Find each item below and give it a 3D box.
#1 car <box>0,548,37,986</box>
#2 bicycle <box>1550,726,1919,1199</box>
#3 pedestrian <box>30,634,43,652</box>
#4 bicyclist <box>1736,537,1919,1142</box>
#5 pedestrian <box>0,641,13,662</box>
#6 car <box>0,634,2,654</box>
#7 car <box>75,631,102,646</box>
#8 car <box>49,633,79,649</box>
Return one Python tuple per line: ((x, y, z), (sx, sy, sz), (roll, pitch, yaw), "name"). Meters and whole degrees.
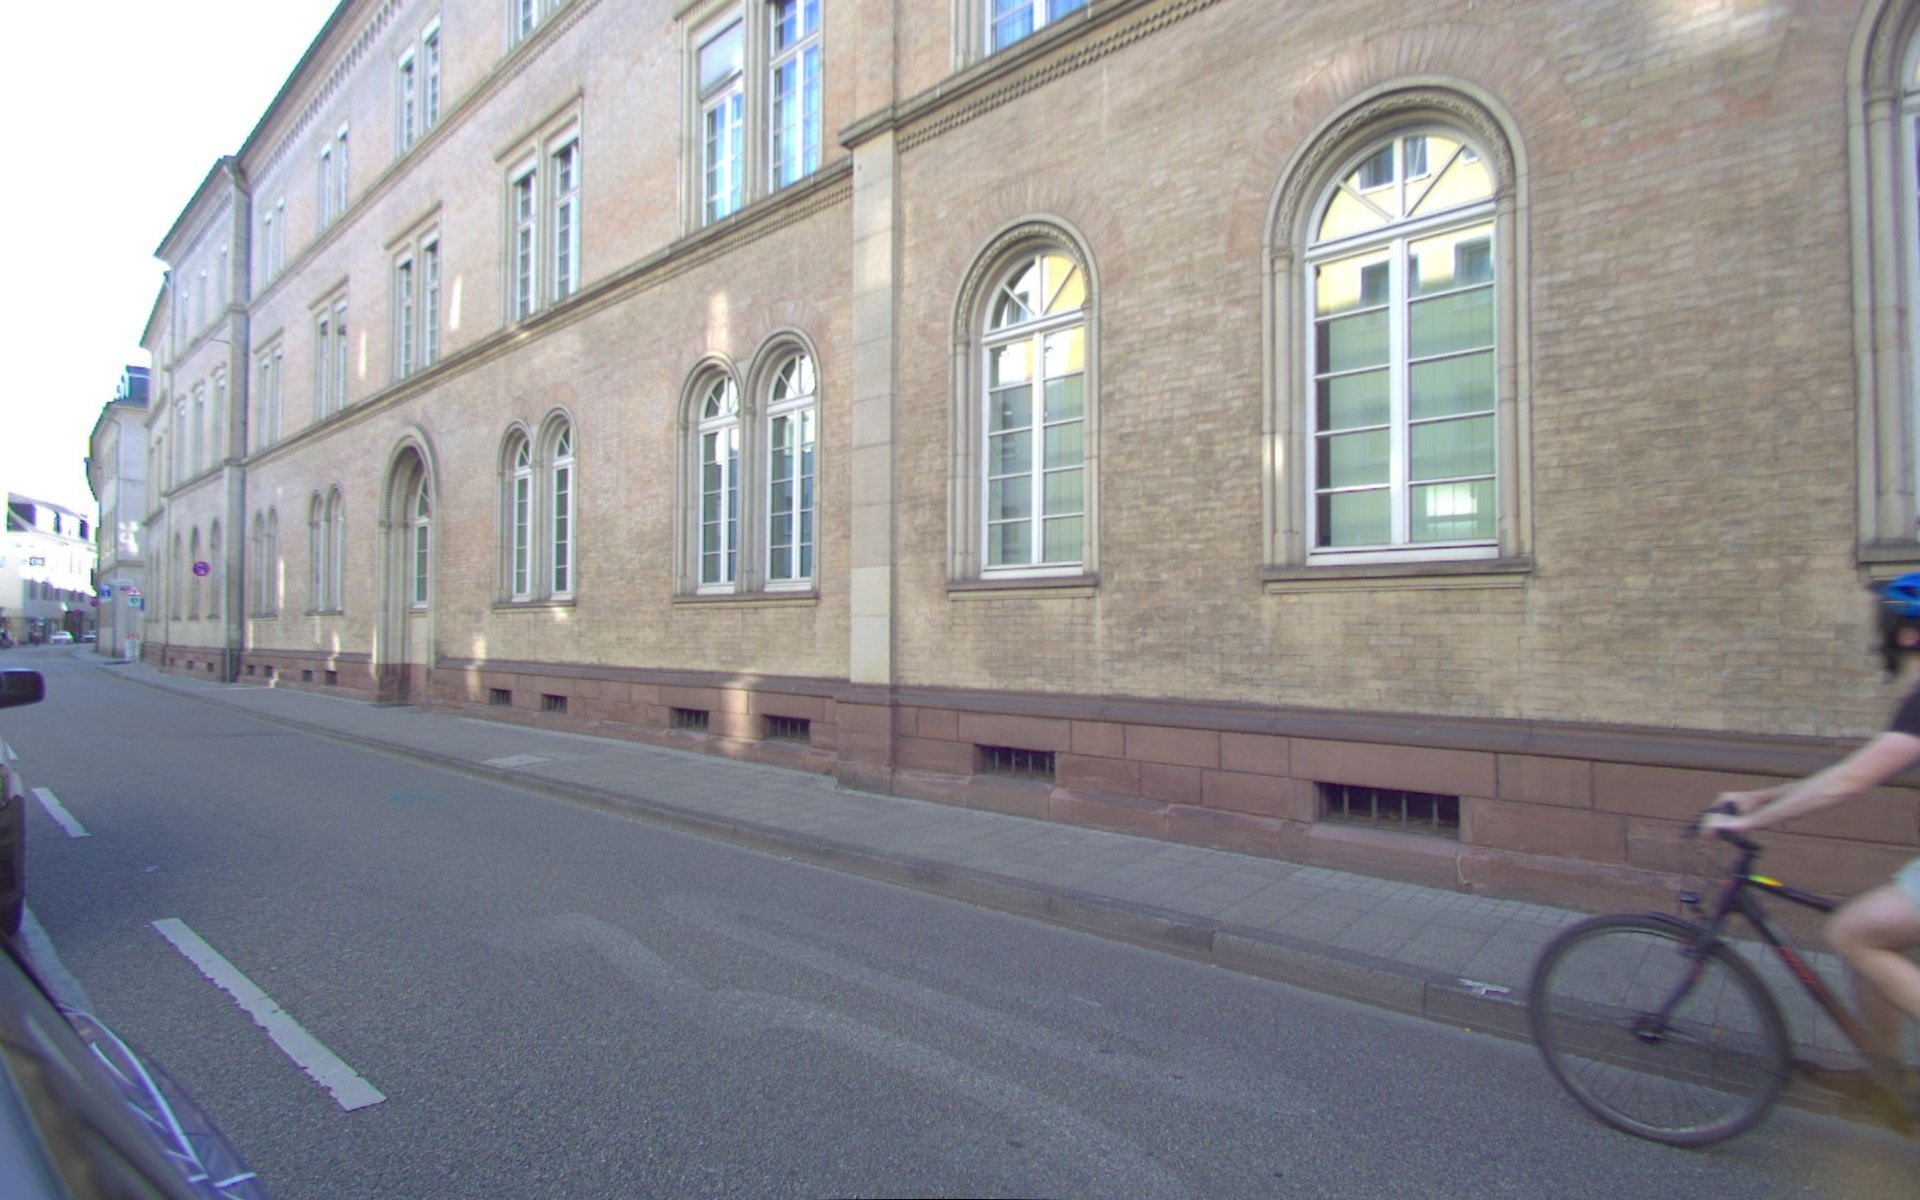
((-6.424, 0.691, 5.303), (5.329, 1.784, 1.747), (-1, -2, 41), "car")
((2.756, 0.996, 2.693), (1.968, 1.161, 0.584), (-2, -2, 39), "bicycle")
((-87.768, 4.076, 96.168), (0.694, 1.648, 0.834), (5, -4, -36), "pedestrian")
((2.776, 0.610, 2.698), (1.078, 1.539, 0.584), (-2, -3, 39), "bicyclist")
((-76.409, 4.111, 81.034), (0.694, 1.648, 0.834), (5, -4, -38), "pedestrian")
((-86.608, 3.934, 89.942), (1.969, 1.665, 4.235), (-1, 0, -41), "car")
((-109.224, 4.814, 126.818), (1.966, 1.665, 4.240), (-1, 0, -33), "car")
((-102.850, 4.733, 116.166), (1.966, 1.665, 4.240), (-1, 0, -33), "car")
